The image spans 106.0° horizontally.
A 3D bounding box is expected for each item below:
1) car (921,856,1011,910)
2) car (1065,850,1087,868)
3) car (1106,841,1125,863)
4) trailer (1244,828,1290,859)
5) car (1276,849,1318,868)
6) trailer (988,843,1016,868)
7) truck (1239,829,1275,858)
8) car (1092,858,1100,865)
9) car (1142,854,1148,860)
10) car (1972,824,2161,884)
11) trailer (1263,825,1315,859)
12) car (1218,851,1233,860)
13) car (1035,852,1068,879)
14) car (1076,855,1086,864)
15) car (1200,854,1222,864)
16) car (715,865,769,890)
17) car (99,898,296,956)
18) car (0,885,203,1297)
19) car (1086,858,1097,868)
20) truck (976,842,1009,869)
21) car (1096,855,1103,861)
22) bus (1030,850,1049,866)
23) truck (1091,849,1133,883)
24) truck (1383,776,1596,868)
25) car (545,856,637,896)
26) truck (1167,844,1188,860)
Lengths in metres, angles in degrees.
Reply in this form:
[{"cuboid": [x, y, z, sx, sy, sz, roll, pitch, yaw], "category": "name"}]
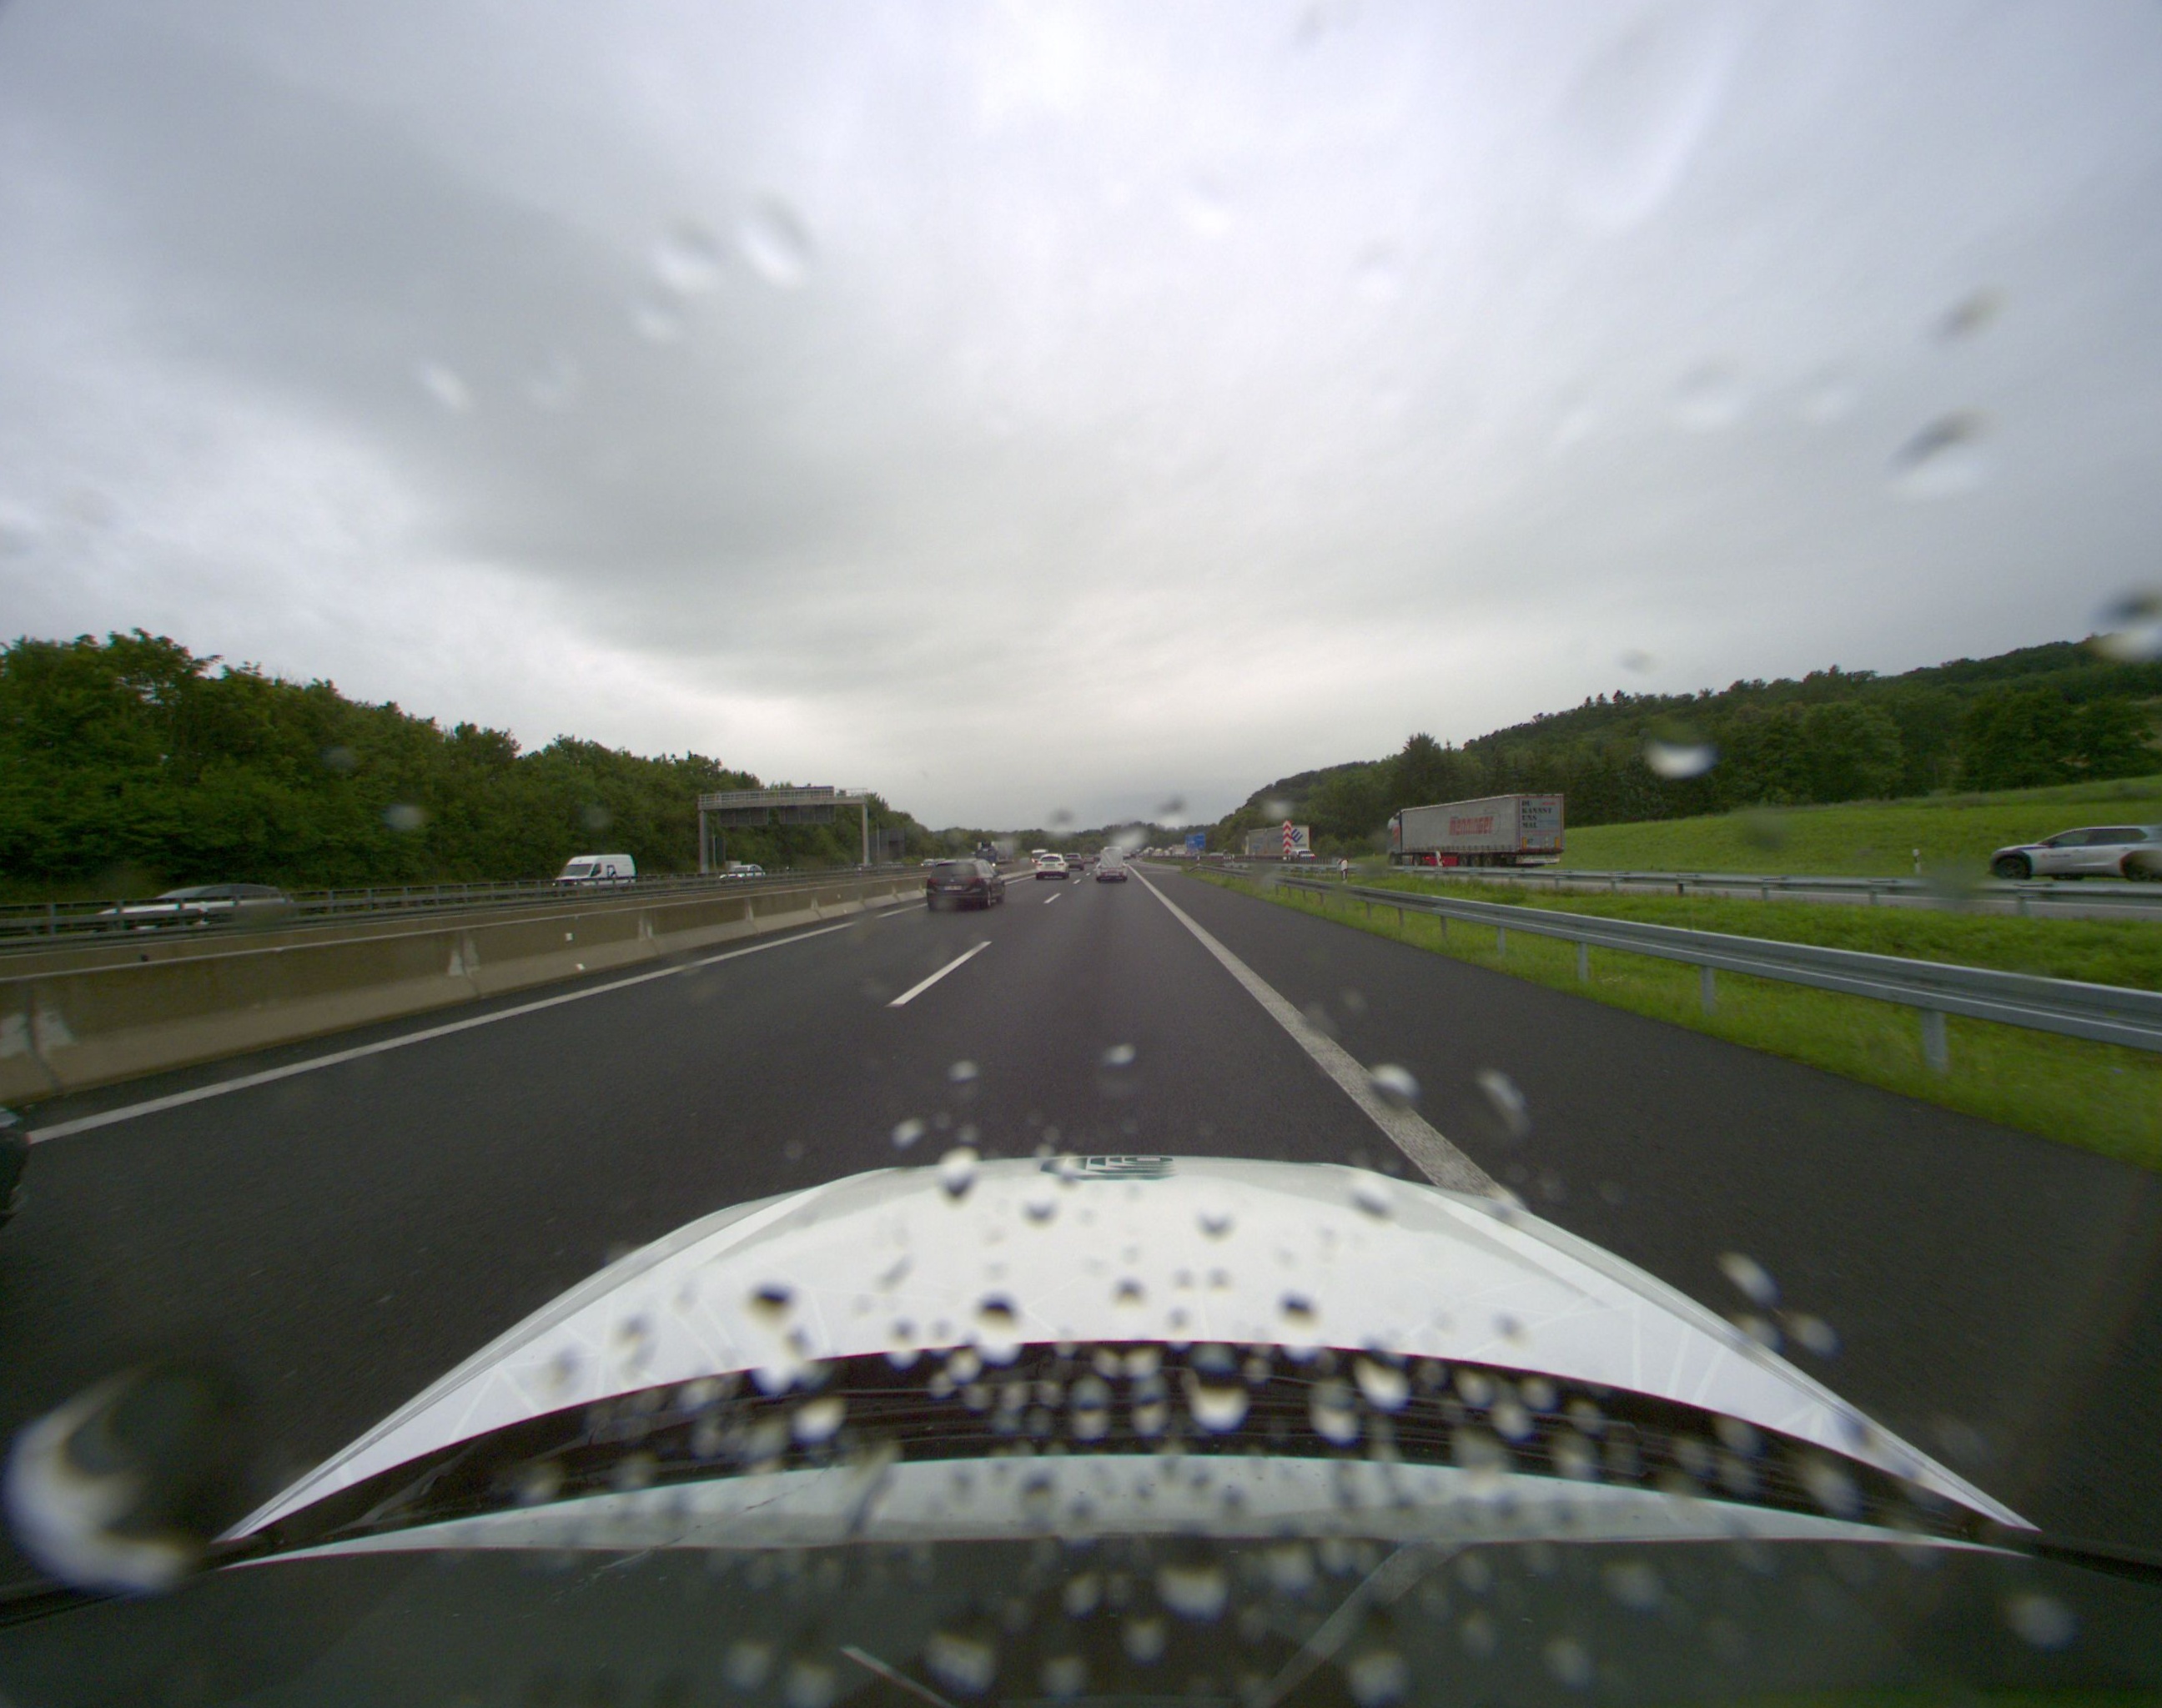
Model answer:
[{"cuboid": [-3.413, 0.821, 25.077, 1.780, 1.459, 4.806, -1, 0, 3], "category": "car"}, {"cuboid": [-0.499, 0.508, 81.252, 1.968, 1.703, 4.805, -1, 0, 2], "category": "car"}, {"cuboid": [4.608, -0.287, 110.536, 2.323, 2.725, 6.541, -1, 0, 1], "category": "car"}, {"cuboid": [21.896, -1.216, 96.327, 2.932, 3.527, 8.407, 0, 0, -4], "category": "trailer"}, {"cuboid": [18.830, 0.405, 71.119, 1.989, 1.616, 5.072, -2, 0, -4], "category": "car"}, {"cuboid": [-11.608, 0.253, 120.069, 2.931, 3.516, 8.056, 0, 0, 3], "category": "trailer"}, {"cuboid": [21.648, -1.256, 100.572, 2.931, 3.527, 5.922, 0, 0, -2], "category": "truck"}, {"cuboid": [3.267, 1.661, 182.196, 1.638, 1.574, 4.003, 0, 0, 3], "category": "car"}, {"cuboid": [17.281, 0.882, 219.386, 1.638, 1.574, 4.003, 0, 0, 3], "category": "car"}, {"cuboid": [27.651, -0.021, 21.850, 1.815, 1.504, 5.025, -1, 0, -3], "category": "car"}, {"cuboid": [22.420, -1.252, 88.110, 3.072, 3.527, 8.072, 0, 0, -4], "category": "trailer"}, {"cuboid": [22.222, 0.278, 125.151, 1.691, 1.288, 3.536, 0, -1, 1], "category": "car"}, {"cuboid": [-1.966, 0.704, 53.381, 2.044, 1.670, 4.536, -1, 0, -3], "category": "car"}, {"cuboid": [-0.030, 1.111, 167.780, 1.812, 1.662, 4.020, -2, 0, 3], "category": "car"}, {"cuboid": [17.723, 0.666, 111.043, 1.981, 1.377, 5.315, -1, 0, -2], "category": "car"}, {"cuboid": [-25.614, 1.727, 61.728, 1.986, 1.737, 4.584, -2, 0, 2], "category": "car"}, {"cuboid": [-26.762, 2.152, 24.878, 1.583, 1.425, 3.921, -1, 0, 3], "category": "car"}, {"cuboid": [-4.798, 0.851, 1.346, 1.823, 1.425, 4.371, -1, 0, 3], "category": "car"}, {"cuboid": [1.872, 1.574, 142.197, 1.731, 1.794, 4.002, -1, 0, 2], "category": "car"}, {"cuboid": [-11.977, 0.244, 110.651, 2.796, 3.524, 10.648, 0, 0, 3], "category": "truck"}, {"cuboid": [4.985, 1.021, 217.105, 1.638, 1.574, 4.003, 0, 0, 3], "category": "car"}, {"cuboid": [-7.131, 0.666, 141.267, 2.531, 2.586, 8.275, 0, 0, 2], "category": "bus"}, {"cuboid": [1.800, 0.639, 47.463, 2.233, 1.839, 6.587, 0, 0, 2], "category": "truck"}, {"cuboid": [23.693, -1.567, 49.450, 3.811, 4.540, 16.869, -1, 0, -2], "category": "truck"}, {"cuboid": [-29.834, 1.287, 49.867, 1.986, 2.213, 5.718, -2, 0, 2], "category": "car"}, {"cuboid": [22.462, -0.460, 189.936, 3.814, 3.659, 8.267, 0, 0, -1], "category": "truck"}]
